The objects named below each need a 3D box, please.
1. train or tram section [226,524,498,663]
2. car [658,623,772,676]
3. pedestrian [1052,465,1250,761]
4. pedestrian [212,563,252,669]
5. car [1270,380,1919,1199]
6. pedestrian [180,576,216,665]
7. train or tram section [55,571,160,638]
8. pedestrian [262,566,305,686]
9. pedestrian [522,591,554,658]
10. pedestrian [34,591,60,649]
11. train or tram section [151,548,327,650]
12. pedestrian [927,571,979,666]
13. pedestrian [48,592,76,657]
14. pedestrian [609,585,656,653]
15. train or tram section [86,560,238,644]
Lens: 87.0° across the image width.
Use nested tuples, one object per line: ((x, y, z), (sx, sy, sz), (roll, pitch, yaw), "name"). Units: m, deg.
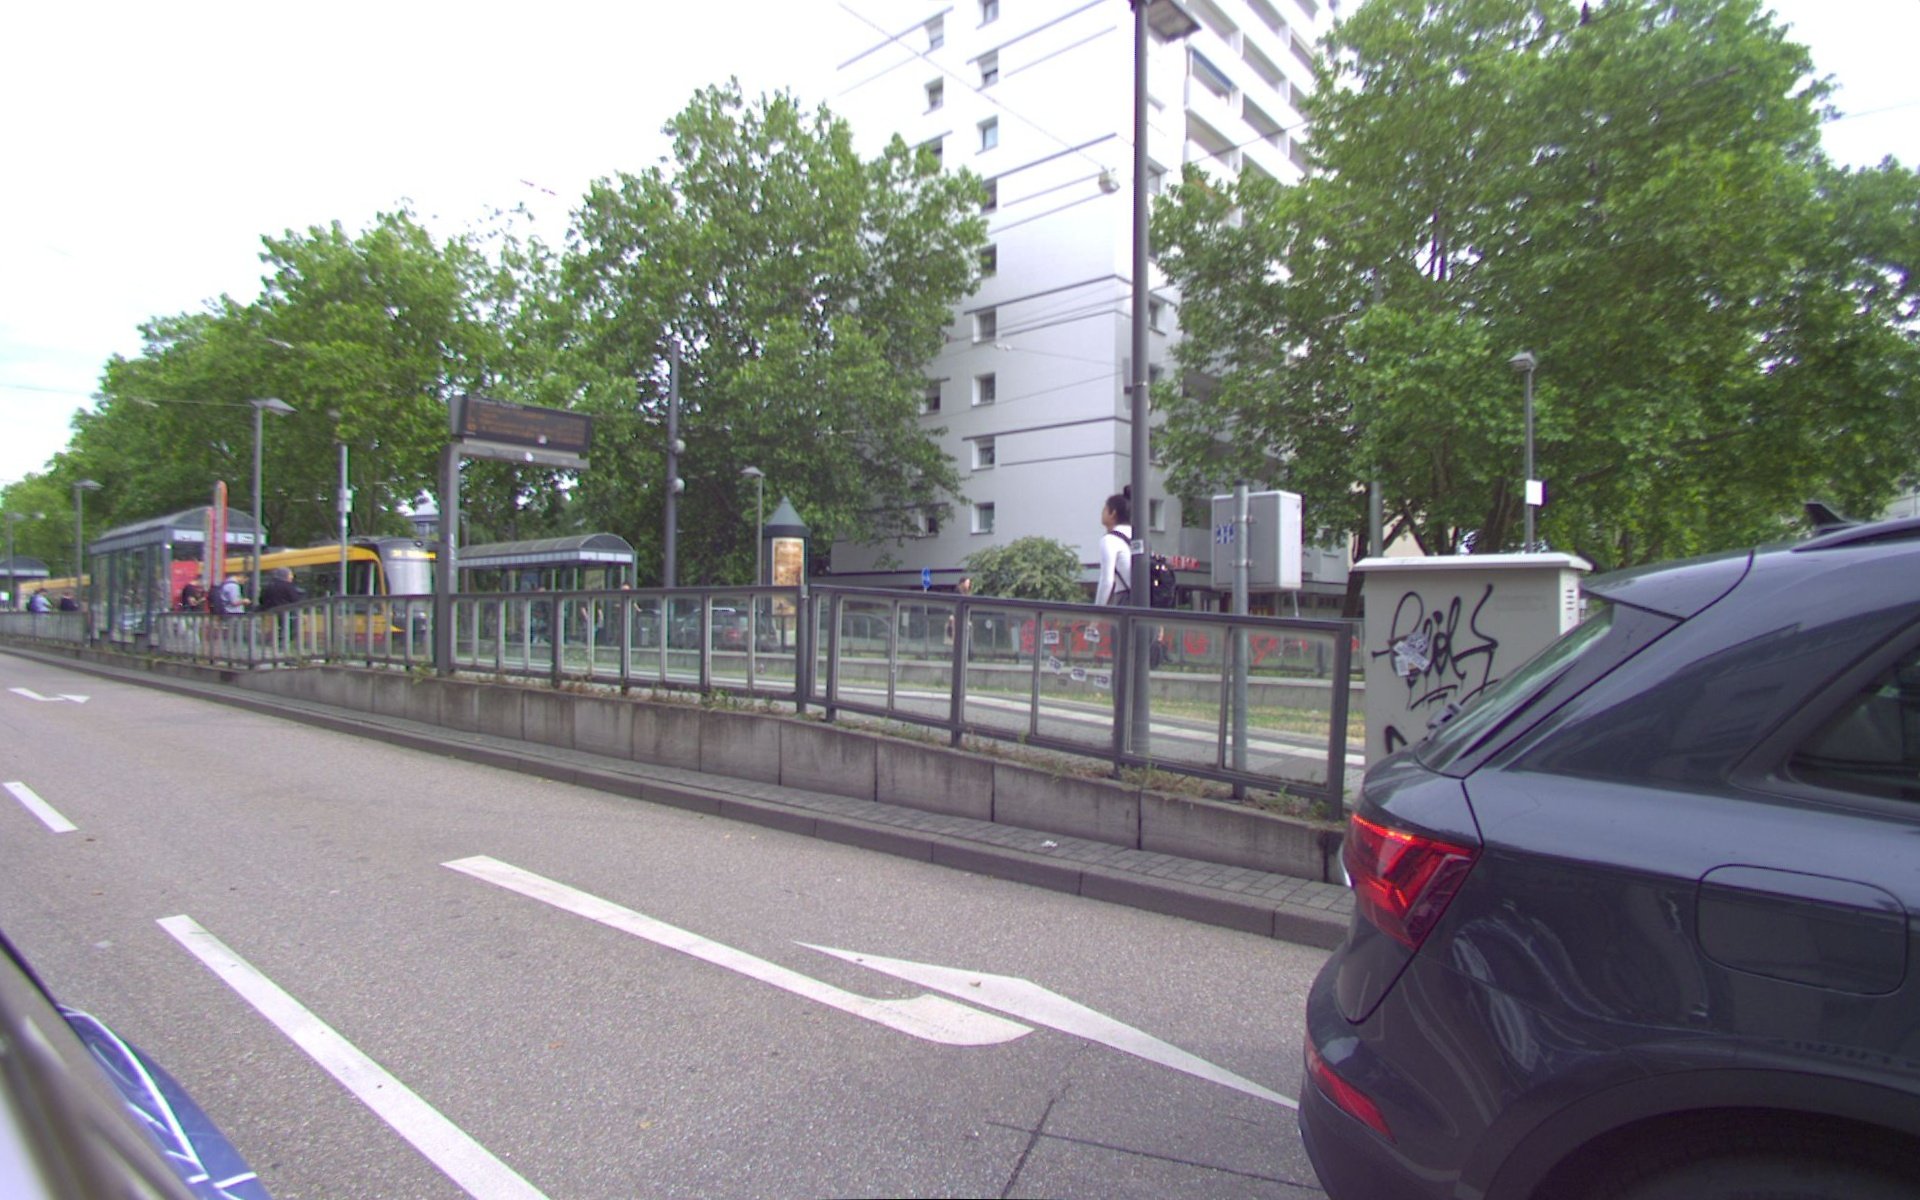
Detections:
((-20.551, -0.115, 33.911), (15.196, 3.781, 3.295), (-1, 0, 41), "train or tram section")
((-7.144, 1.386, 29.393), (3.215, 1.439, 1.563), (-1, -1, 37), "car")
((1.189, 0.074, 6.354), (0.979, 1.683, 0.711), (-1, 0, 44), "pedestrian")
((-12.759, 0.269, 17.728), (0.605, 1.818, 0.469), (-1, 0, 45), "pedestrian")
((2.682, 0.544, 0.983), (4.225, 1.649, 1.715), (-1, 0, 41), "car")
((-15.933, 0.421, 21.173), (0.467, 1.818, 0.607), (-1, 0, -24), "pedestrian")
((-52.016, 0.291, 61.604), (11.039, 3.781, 3.295), (-1, 0, 41), "train or tram section")
((-10.537, 0.391, 15.753), (0.513, 1.818, 0.606), (-1, 0, -37), "pedestrian")
((-12.440, 0.707, 29.839), (0.553, 1.945, 0.690), (-1, 0, 41), "pedestrian")
((-29.045, 0.627, 32.196), (0.523, 1.818, 0.607), (-1, 0, -35), "pedestrian")
((-30.941, 0.019, 43.076), (12.543, 3.781, 3.295), (-1, 0, 41), "train or tram section")
((-0.124, 0.340, 19.295), (0.666, 1.763, 0.728), (-1, 0, 41), "pedestrian")
((-25.576, 0.696, 28.834), (0.523, 1.818, 0.607), (-1, 0, -35), "pedestrian")
((-8.761, 0.505, 27.044), (0.850, 1.769, 0.871), (-1, 0, 41), "pedestrian")
((-41.771, 0.159, 52.575), (16.241, 3.781, 3.295), (-1, 0, 41), "train or tram section")
